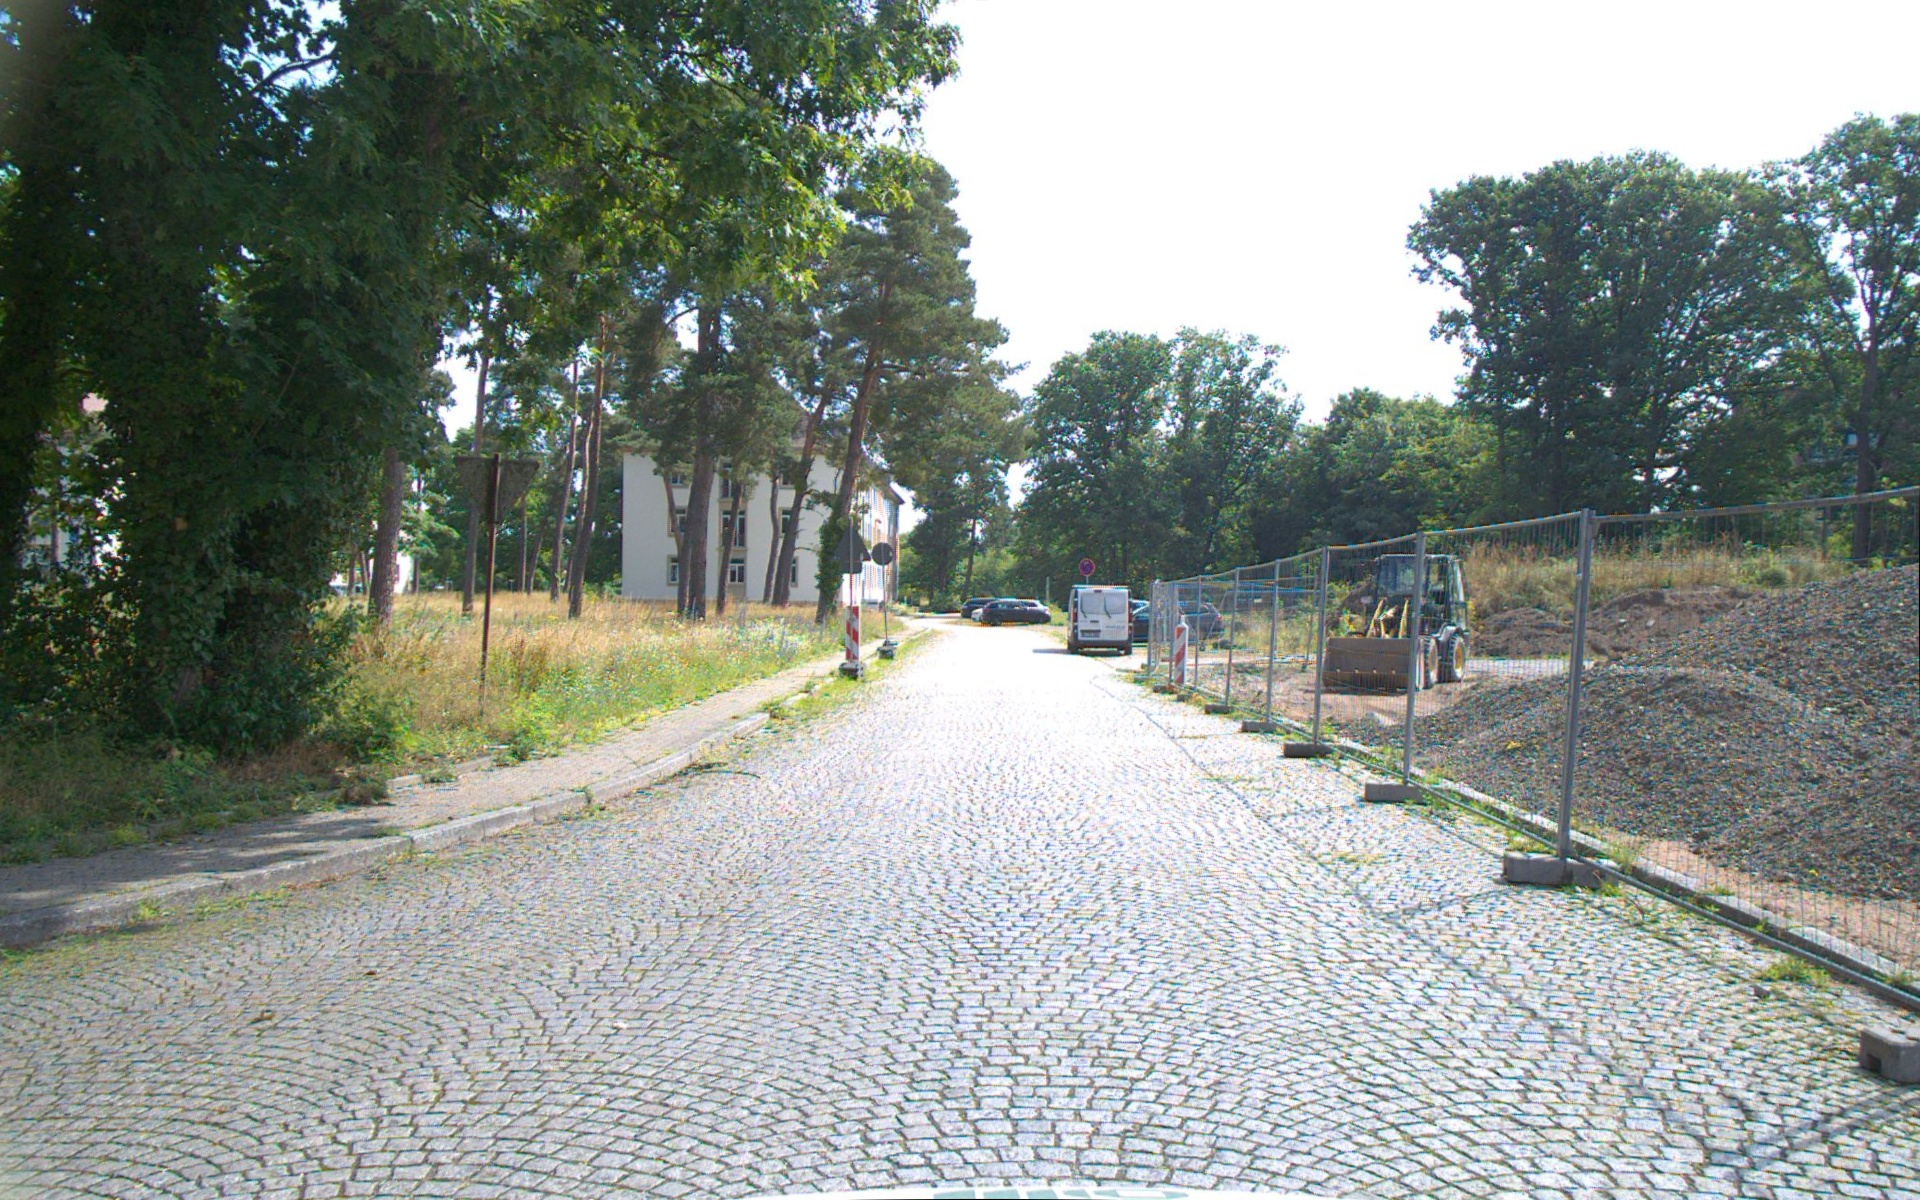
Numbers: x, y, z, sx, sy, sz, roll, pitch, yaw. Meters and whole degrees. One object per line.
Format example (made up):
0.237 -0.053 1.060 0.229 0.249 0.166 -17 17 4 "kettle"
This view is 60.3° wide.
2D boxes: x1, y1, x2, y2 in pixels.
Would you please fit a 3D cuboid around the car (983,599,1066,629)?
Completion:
3.804 0.809 97.479 4.686 1.669 1.998 1 0 -5 "car"

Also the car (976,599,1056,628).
3.389 0.793 100.589 4.686 1.669 1.998 1 0 -5 "car"

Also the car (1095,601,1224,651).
6.903 0.890 57.127 4.309 1.537 2.002 2 0 8 "car"

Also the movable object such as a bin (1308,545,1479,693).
8.528 0.341 32.233 2.088 2.638 4.782 1 0 29 "movable object such as a bin"

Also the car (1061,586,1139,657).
4.214 0.643 50.440 1.953 2.049 4.090 1 0 -1 "car"
